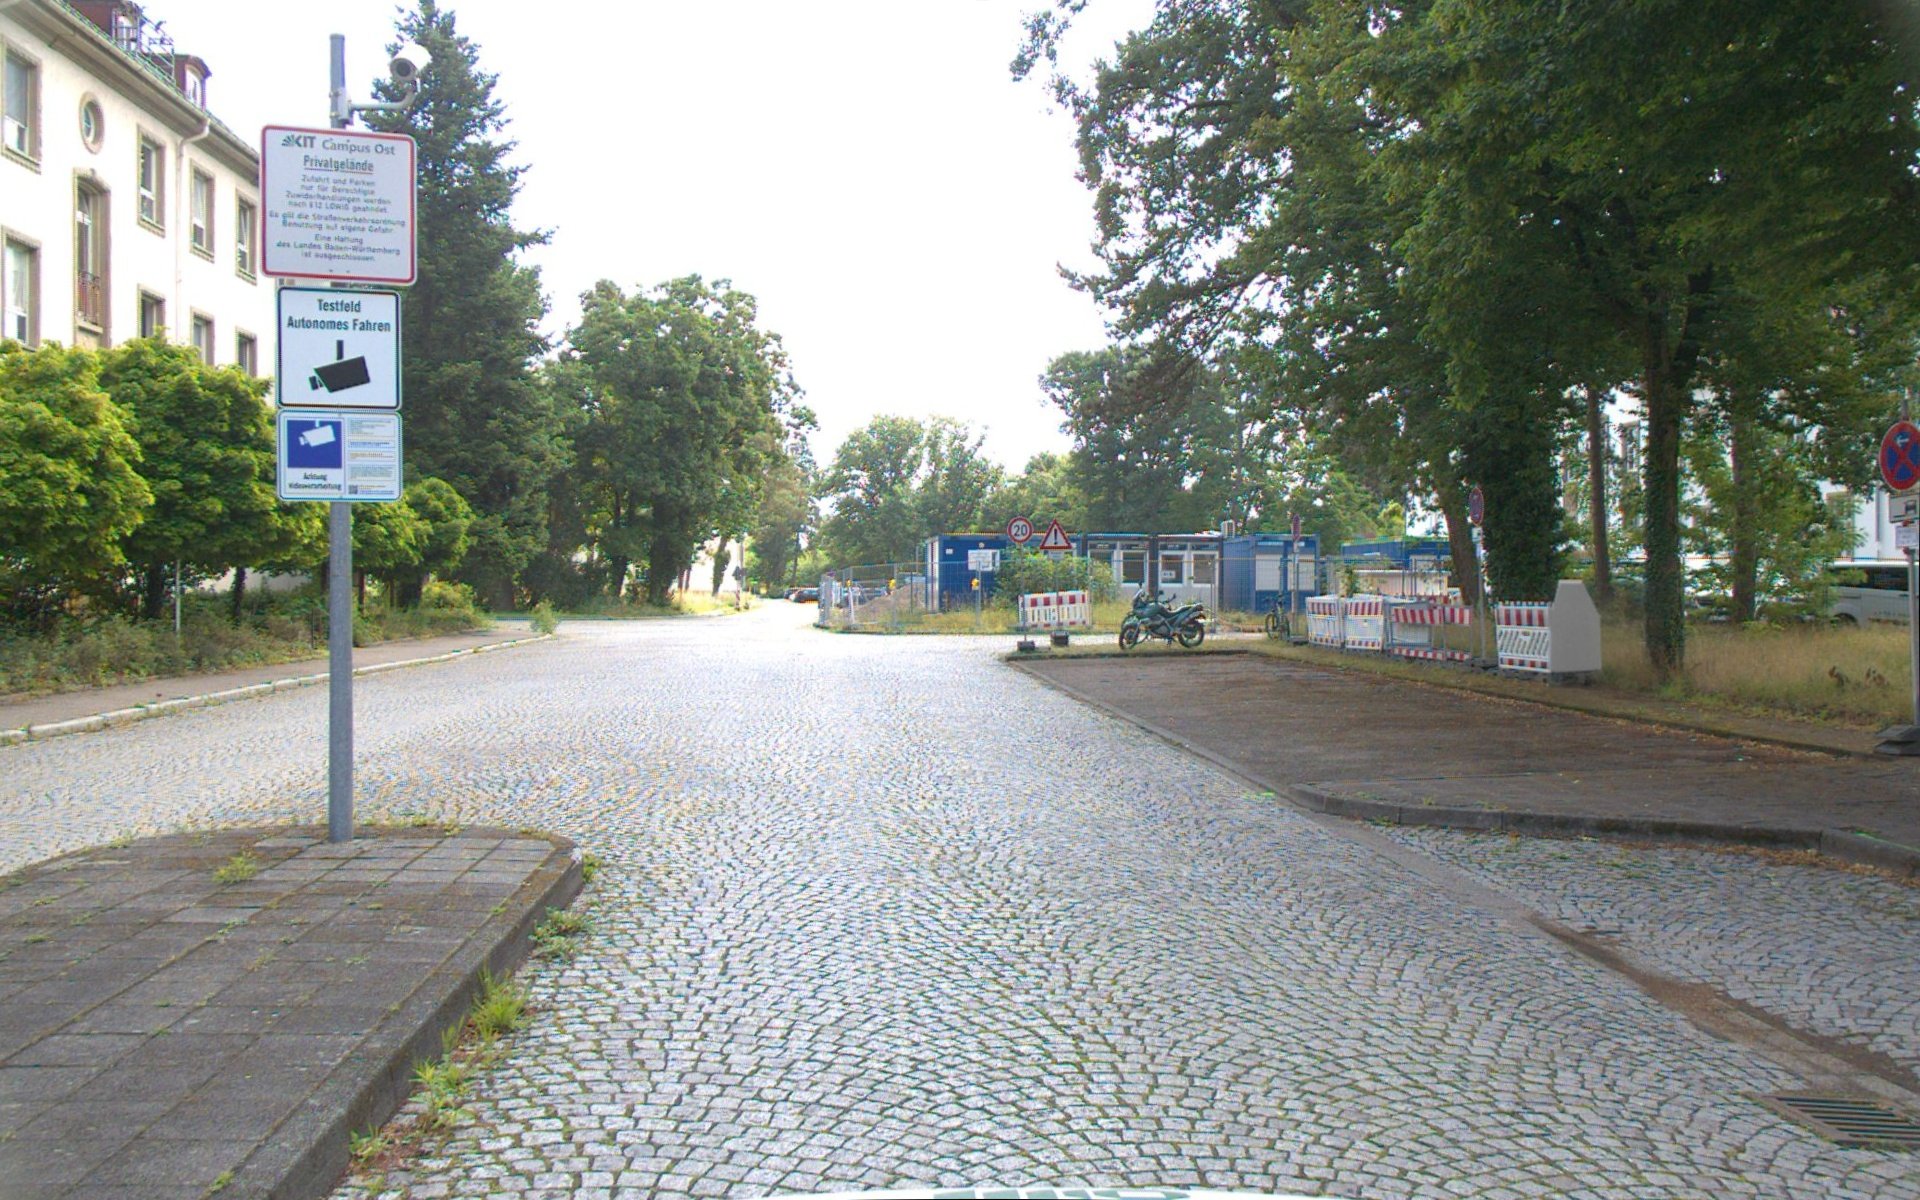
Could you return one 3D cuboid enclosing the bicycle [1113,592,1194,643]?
[{"bbox_3d":[4.648,0.418,39.779,1.858,1.218,0.656,0,0,14],"label":"bicycle"}]

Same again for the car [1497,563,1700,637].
[{"bbox_3d":[17.197,-0.023,44.654,4.763,1.954,1.905,0,1,-4],"label":"car"}]

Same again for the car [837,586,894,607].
[{"bbox_3d":[-7.617,-0.291,133.445,4.310,1.537,2.001,1,0,3],"label":"car"}]

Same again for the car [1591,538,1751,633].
[{"bbox_3d":[21.014,-0.401,49.214,1.954,2.601,5.906,1,0,-3],"label":"car"}]

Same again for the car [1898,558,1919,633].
[{"bbox_3d":[25.680,-0.075,40.077,1.974,1.857,4.822,1,0,-31],"label":"car"}]

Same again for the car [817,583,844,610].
[{"bbox_3d":[-10.002,-0.246,127.499,1.955,2.049,4.085,0,0,-6],"label":"car"}]

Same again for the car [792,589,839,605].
[{"bbox_3d":[-15.209,-0.344,174.108,4.693,1.669,1.995,0,0,-11],"label":"car"}]

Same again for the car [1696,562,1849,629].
[{"bbox_3d":[24.121,-0.117,49.328,1.954,1.857,4.871,1,0,-3],"label":"car"}]

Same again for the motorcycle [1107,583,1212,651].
[{"bbox_3d":[4.521,0.375,37.441,2.235,1.511,0.755,-1,0,-10],"label":"motorcycle"}]

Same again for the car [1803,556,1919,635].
[{"bbox_3d":[23.013,-0.090,39.527,1.974,1.857,4.822,1,0,-31],"label":"car"}]

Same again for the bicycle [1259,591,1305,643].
[{"bbox_3d":[7.608,0.381,39.166,0.629,1.189,1.904,-1,0,-3],"label":"bicycle"}]
